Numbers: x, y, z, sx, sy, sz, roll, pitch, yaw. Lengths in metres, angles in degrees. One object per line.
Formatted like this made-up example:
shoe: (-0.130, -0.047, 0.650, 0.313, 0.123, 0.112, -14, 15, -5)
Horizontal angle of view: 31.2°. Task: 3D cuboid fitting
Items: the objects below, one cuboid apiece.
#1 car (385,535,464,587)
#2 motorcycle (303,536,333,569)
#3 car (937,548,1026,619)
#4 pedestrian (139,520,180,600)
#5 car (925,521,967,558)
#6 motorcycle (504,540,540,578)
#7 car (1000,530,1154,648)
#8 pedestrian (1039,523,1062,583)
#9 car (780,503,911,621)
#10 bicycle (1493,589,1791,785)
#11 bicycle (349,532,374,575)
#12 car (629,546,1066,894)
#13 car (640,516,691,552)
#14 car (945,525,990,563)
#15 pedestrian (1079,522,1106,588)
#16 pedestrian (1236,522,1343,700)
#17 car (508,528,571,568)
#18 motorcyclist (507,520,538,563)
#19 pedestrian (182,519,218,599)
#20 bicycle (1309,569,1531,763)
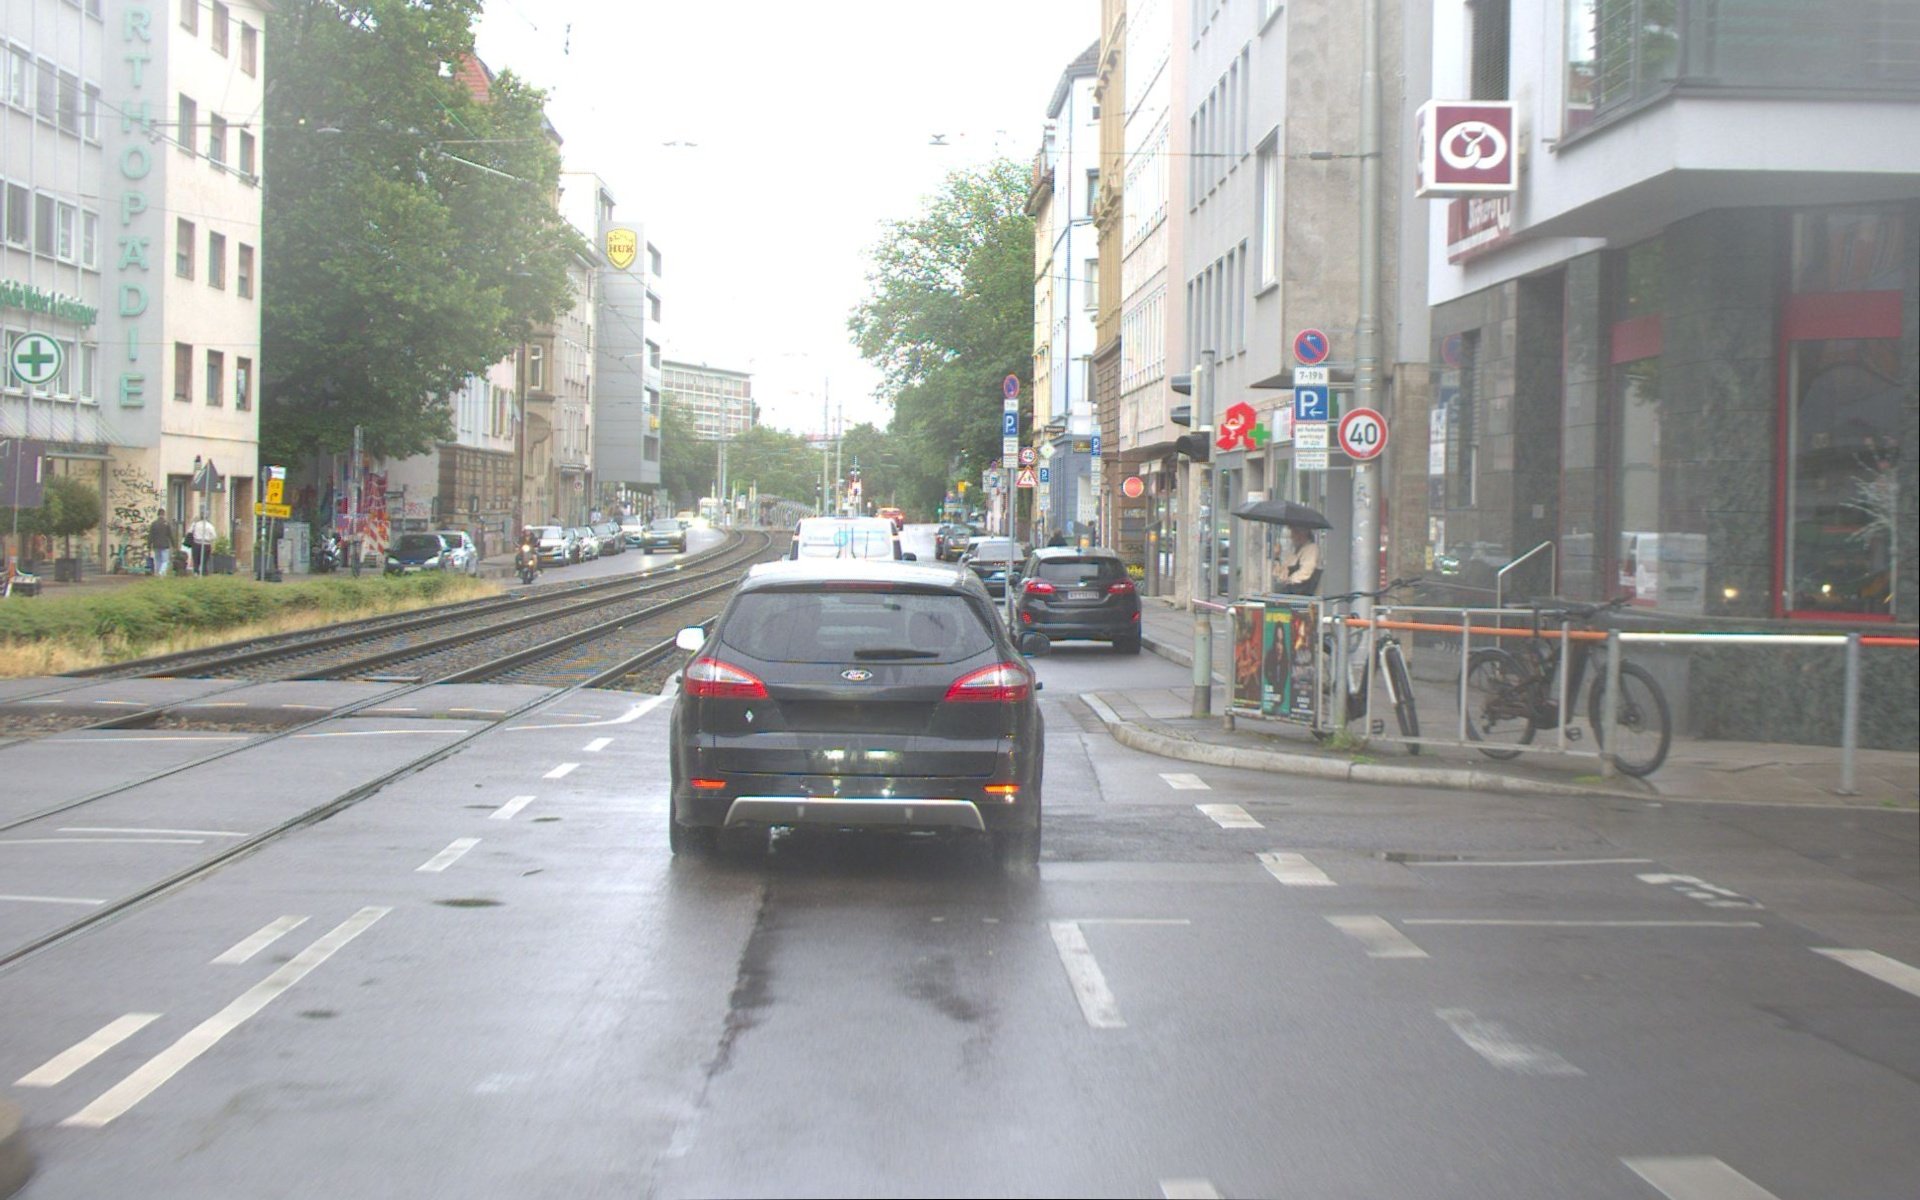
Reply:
car: (-15.904, -1.178, 102.234, 1.744, 1.463, 4.220, 0, 1, -1)
motorcycle: (-20.568, -1.535, 110.228, 0.639, 1.029, 2.120, 1, 1, -3)
car: (0.477, -0.394, 80.140, 1.993, 1.588, 4.572, 0, 1, 0)
pedestrian: (-18.989, -0.952, 81.605, 0.727, 1.889, 0.983, 1, 1, -1)
car: (-0.618, -2.604, 147.711, 1.642, 1.510, 4.039, 1, 2, -2)
motorcycle: (-12.664, -1.192, 99.467, 0.742, 1.056, 1.931, 1, 1, 1)
car: (1.601, -0.173, 48.477, 1.993, 1.588, 4.271, 0, 1, 0)
pedestrian: (2.795, -1.462, 106.268, 0.661, 1.845, 0.821, 1, 2, -2)
car: (-1.793, -0.601, 55.072, 1.993, 1.810, 4.271, 0, 1, 0)
bicycle: (4.338, 0.534, 22.005, 0.576, 1.153, 1.956, 1, 1, -37)
bicycle: (-17.295, -1.358, 99.379, 0.590, 1.222, 2.404, 1, 1, -8)
car: (-0.533, 0.525, 17.863, 1.993, 1.588, 4.271, 0, 1, 0)
car: (-13.540, -3.041, 158.420, 1.993, 1.514, 4.444, 1, 0, -1)
car: (0.288, -2.359, 143.189, 1.738, 1.484, 4.001, 1, 2, -2)
pedestrian: (4.101, -1.405, 106.386, 0.736, 2.006, 0.821, 1, 2, -2)
pedestrian: (2.956, 0.090, 30.900, 0.659, 1.577, 0.780, 0, 1, -23)
car: (-16.590, -2.075, 135.664, 1.993, 1.514, 4.436, 1, 1, -1)
motorcyclist: (-12.647, -1.698, 99.408, 0.741, 1.213, 0.970, 1, 1, 1)
pedestrian: (-17.988, -0.975, 81.389, 0.678, 1.889, 0.743, 1, 1, -1)
bicycle: (3.143, 0.430, 23.676, 0.497, 1.254, 1.957, 1, 1, -25)
